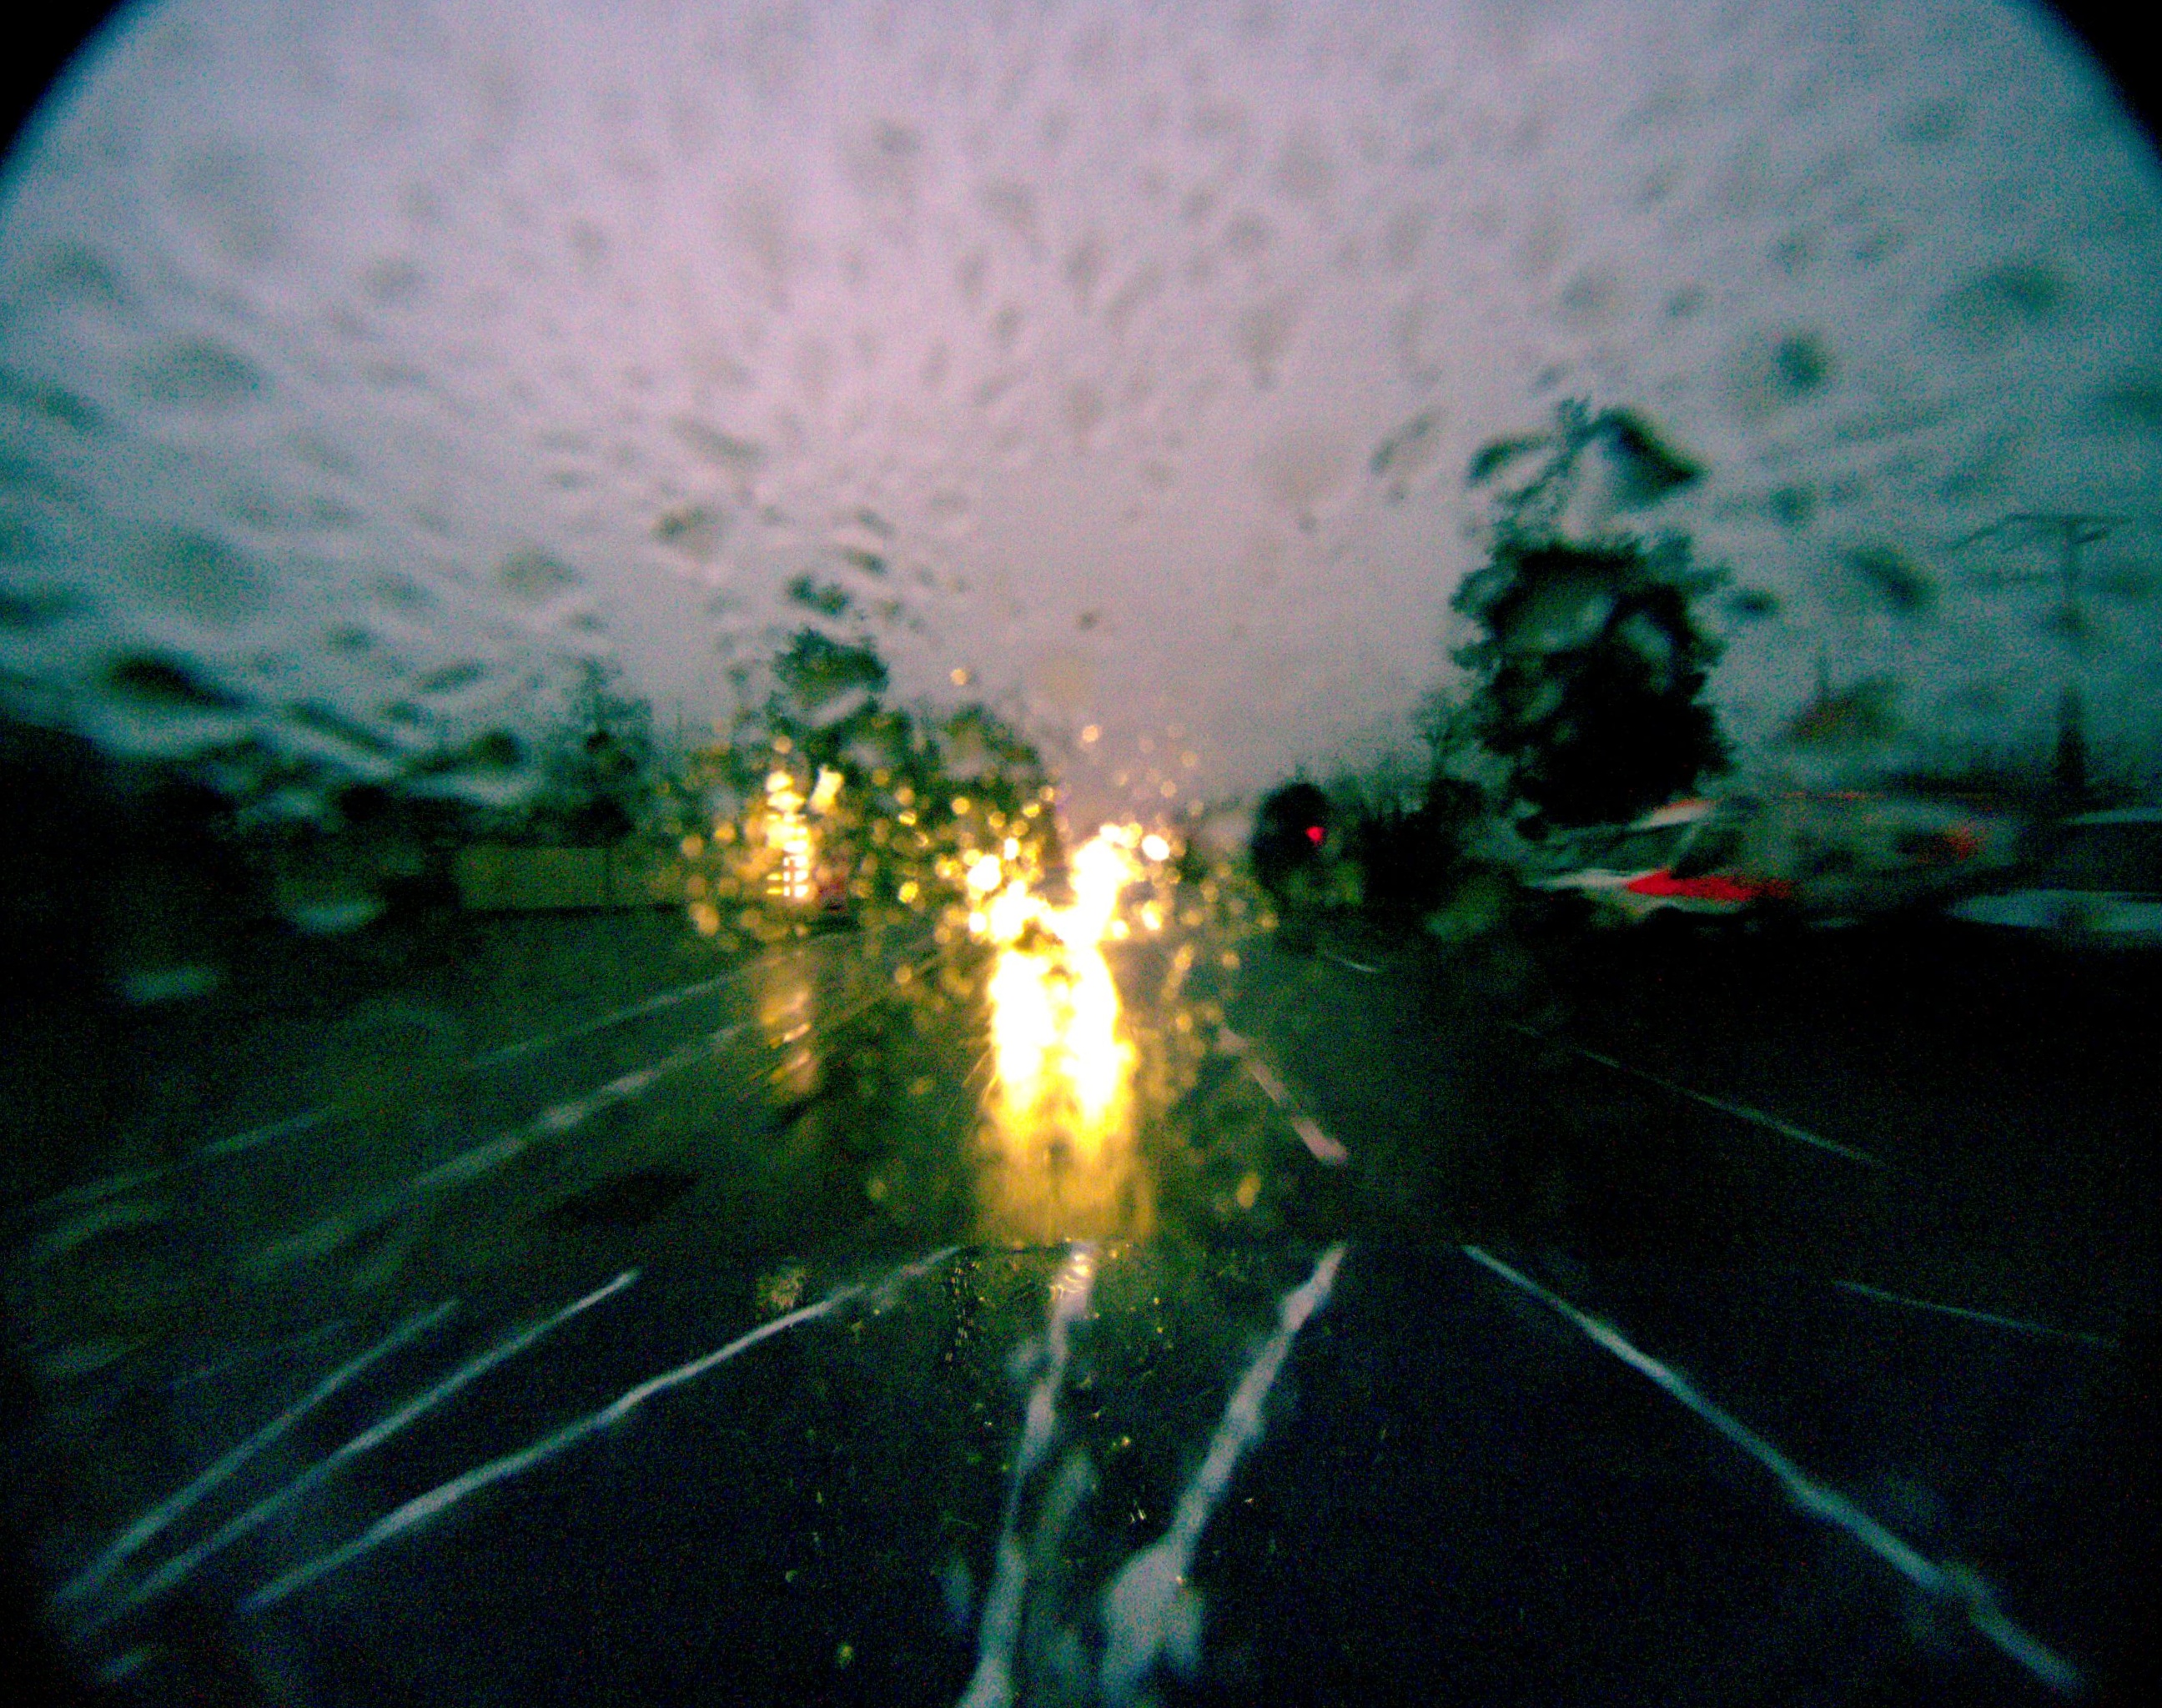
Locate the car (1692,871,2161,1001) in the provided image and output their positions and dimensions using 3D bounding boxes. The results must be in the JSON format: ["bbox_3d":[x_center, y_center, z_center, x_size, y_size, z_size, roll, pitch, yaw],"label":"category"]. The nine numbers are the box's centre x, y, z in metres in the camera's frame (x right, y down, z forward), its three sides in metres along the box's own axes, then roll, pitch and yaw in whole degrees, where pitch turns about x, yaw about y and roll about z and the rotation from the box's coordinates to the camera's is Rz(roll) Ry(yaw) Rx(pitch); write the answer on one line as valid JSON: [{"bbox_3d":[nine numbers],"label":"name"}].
[{"bbox_3d":[11.334,1.018,10.138,4.761,1.474,1.955,1,0,0],"label":"car"}]

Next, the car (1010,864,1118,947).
[{"bbox_3d":[-0.461,0.997,16.384,2.016,1.484,3.998,-1,0,-4],"label":"car"}]

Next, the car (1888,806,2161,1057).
[{"bbox_3d":[11.640,0.709,7.487,5.159,2.137,2.058,1,0,0],"label":"car"}]

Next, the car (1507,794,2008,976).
[{"bbox_3d":[10.645,0.468,12.368,6.171,2.616,2.176,1,0,0],"label":"car"}]

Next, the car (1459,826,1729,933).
[{"bbox_3d":[12.142,0.595,18.229,5.115,2.376,2.080,1,0,-2],"label":"car"}]

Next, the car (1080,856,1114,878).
[{"bbox_3d":[1.108,0.907,54.540,2.016,1.484,3.998,-1,0,-4],"label":"car"}]

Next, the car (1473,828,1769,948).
[{"bbox_3d":[10.953,0.666,15.685,4.678,2.259,1.987,1,0,0],"label":"car"}]

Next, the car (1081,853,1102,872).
[{"bbox_3d":[0.982,0.806,71.170,1.933,1.701,4.000,-1,0,1],"label":"car"}]

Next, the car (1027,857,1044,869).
[{"bbox_3d":[-6.123,1.204,102.609,1.890,1.618,4.000,-2,0,1],"label":"car"}]
